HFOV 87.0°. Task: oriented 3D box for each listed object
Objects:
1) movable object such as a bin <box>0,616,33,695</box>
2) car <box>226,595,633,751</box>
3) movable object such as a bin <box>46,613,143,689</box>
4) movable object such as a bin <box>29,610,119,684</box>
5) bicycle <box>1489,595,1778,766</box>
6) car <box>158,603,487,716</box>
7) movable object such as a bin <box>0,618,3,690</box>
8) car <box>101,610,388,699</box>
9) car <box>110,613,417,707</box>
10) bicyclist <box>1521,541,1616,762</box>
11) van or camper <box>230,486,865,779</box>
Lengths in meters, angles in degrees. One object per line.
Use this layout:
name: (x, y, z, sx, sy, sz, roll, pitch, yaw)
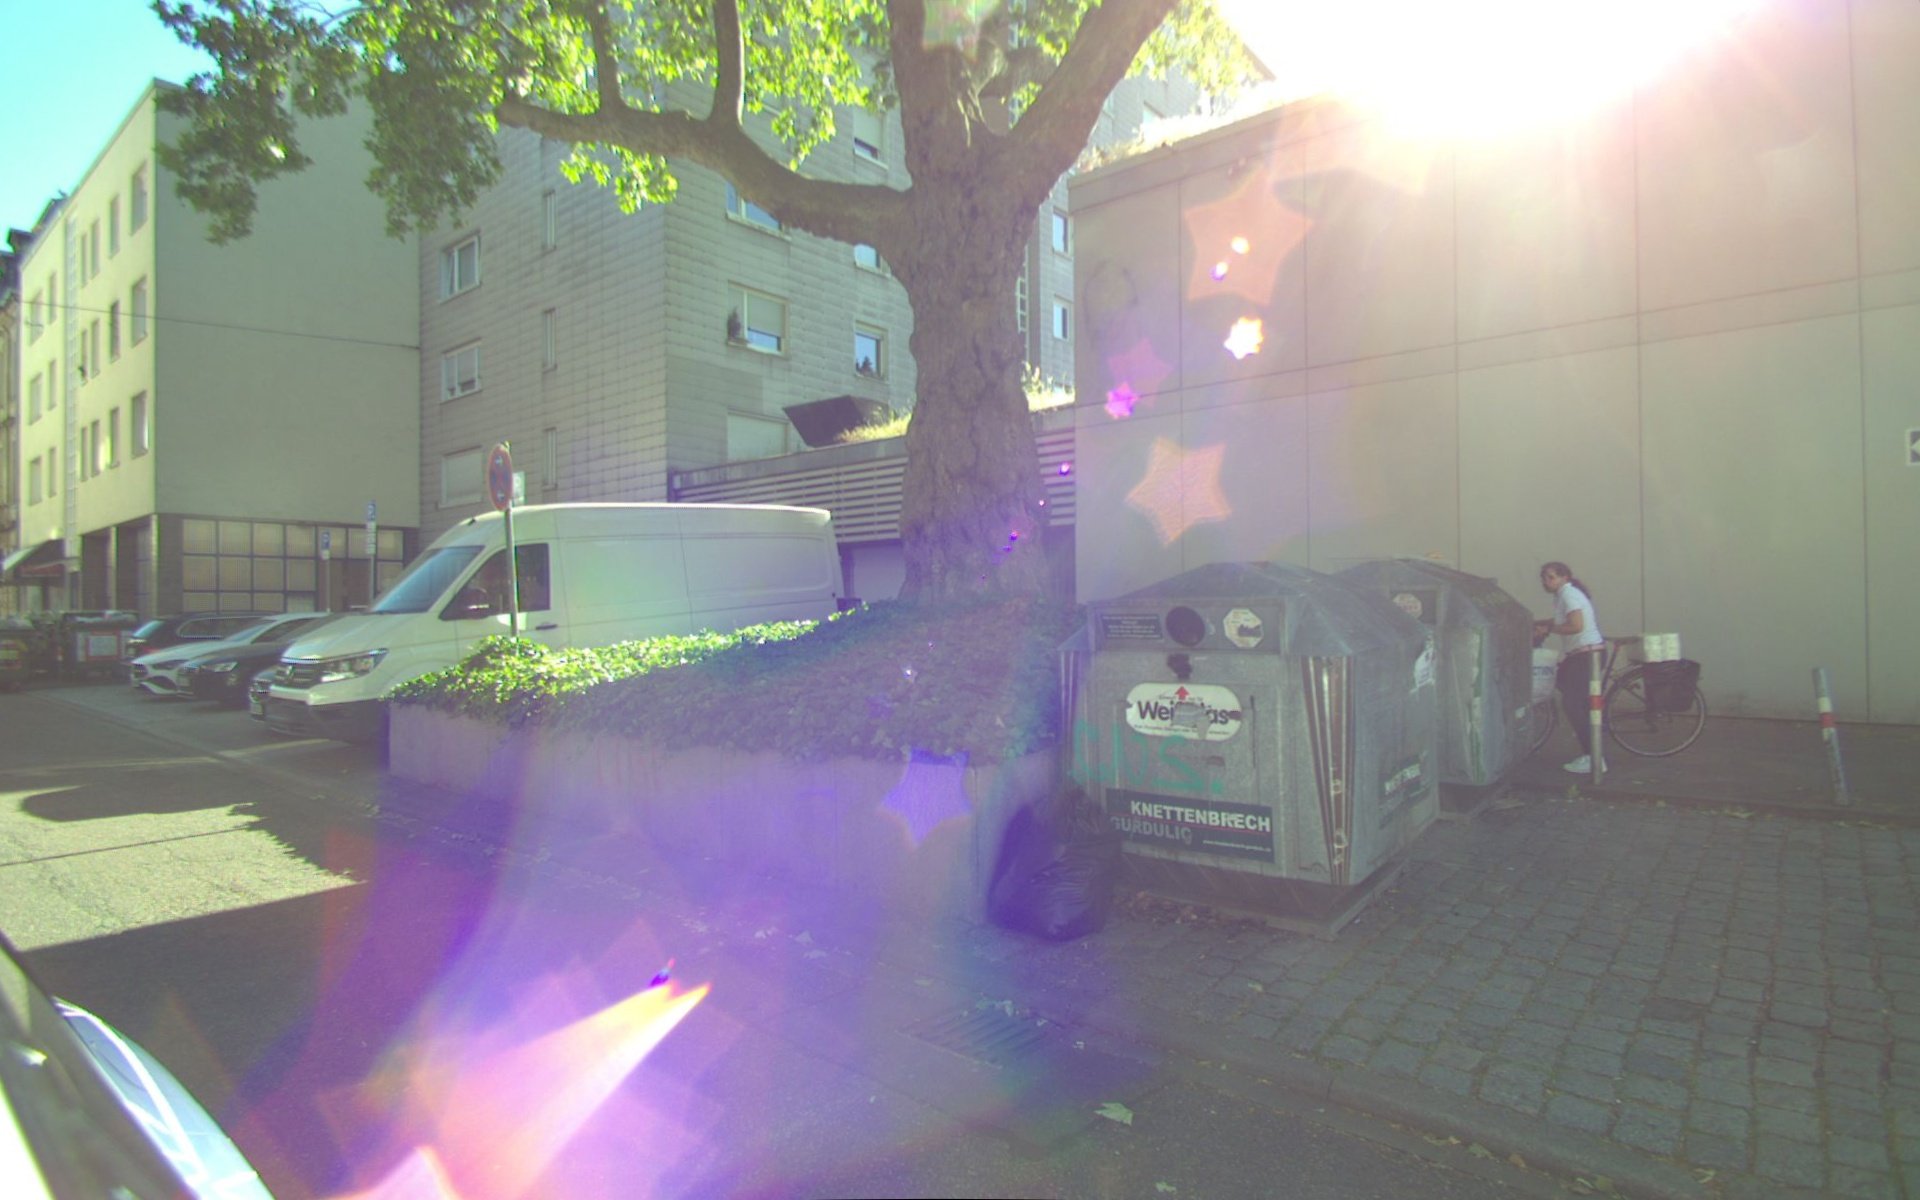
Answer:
movable object such as a bin: (-19.357, 1.090, 20.029, 1.875, 1.512, 1.226, -1, -1, 39)
car: (-6.692, 0.801, 13.206, 1.697, 1.545, 4.361, -1, 1, 39)
movable object such as a bin: (-17.867, 1.024, 20.898, 1.193, 1.512, 1.312, -1, -1, 38)
movable object such as a bin: (-19.055, 0.992, 21.759, 1.515, 1.512, 1.207, -1, -1, 38)
bicycle: (5.022, 0.578, 7.709, 1.709, 1.162, 0.798, -2, 0, 27)
car: (-10.424, 0.885, 16.892, 1.694, 1.629, 4.367, -1, -1, 34)
movable object such as a bin: (-21.279, 1.149, 21.425, 1.923, 1.512, 1.231, -1, -1, 38)
car: (-14.045, 1.003, 20.137, 1.694, 1.545, 4.367, -2, -1, 34)
car: (-12.529, 1.012, 18.495, 1.595, 1.474, 4.367, -2, -1, 34)
bicyclist: (4.623, 0.363, 7.719, 0.531, 1.596, 0.700, -1, 2, 25)
van or camper: (-4.354, 0.131, 12.198, 1.999, 2.593, 6.836, -2, 2, 40)
